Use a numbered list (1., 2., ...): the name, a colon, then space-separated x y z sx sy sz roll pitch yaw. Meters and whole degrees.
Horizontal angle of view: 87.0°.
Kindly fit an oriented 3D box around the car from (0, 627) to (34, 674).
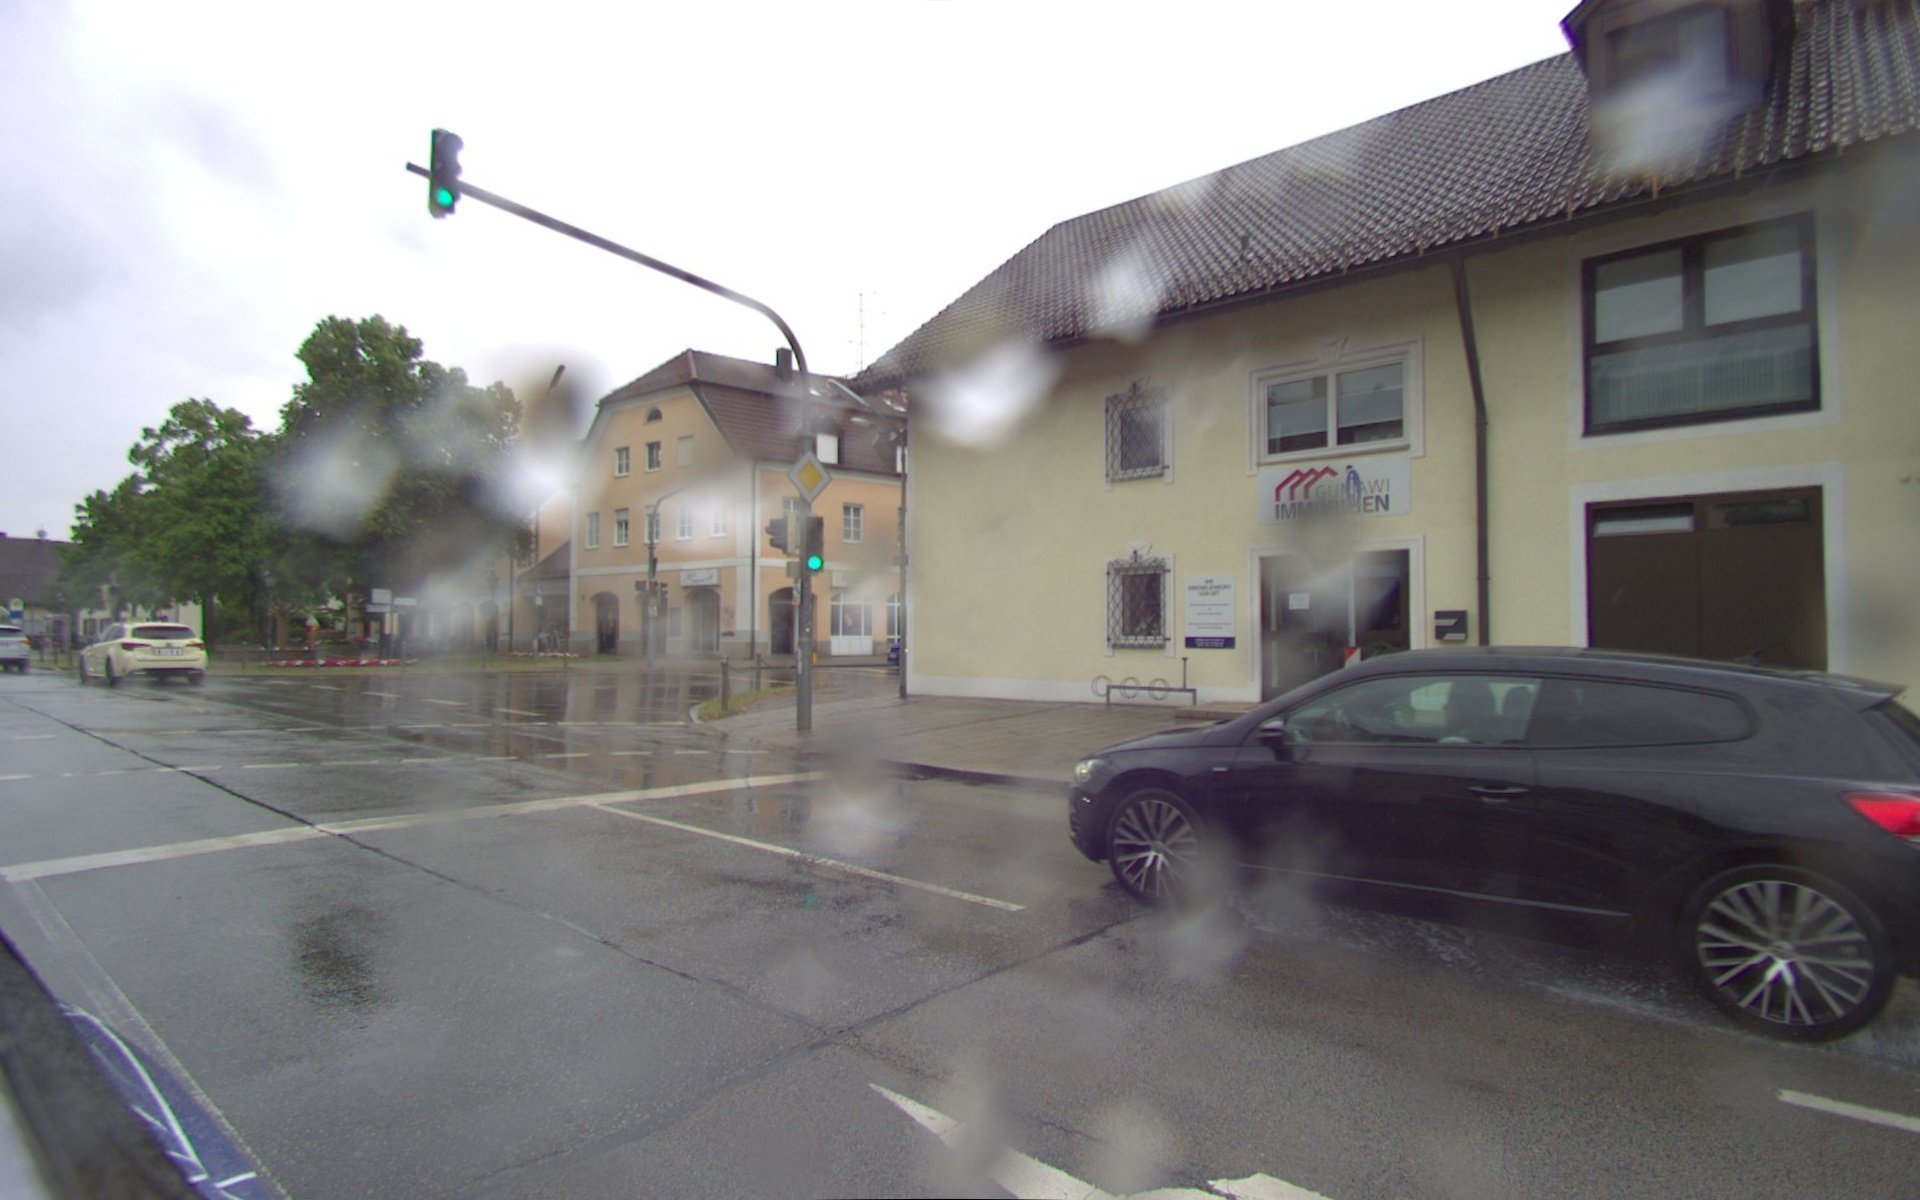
1. car: -34.384 1.758 35.726 4.122 1.578 1.907 -1 -2 40

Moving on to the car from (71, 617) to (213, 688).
1. car: -19.441 1.211 23.993 4.225 1.523 1.735 -1 -3 39

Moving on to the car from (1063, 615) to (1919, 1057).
1. car: 2.662 0.823 4.984 3.882 1.418 1.975 -1 -3 42

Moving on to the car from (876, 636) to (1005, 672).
1. car: -0.631 1.846 35.306 4.288 1.194 1.694 1 -2 -35
